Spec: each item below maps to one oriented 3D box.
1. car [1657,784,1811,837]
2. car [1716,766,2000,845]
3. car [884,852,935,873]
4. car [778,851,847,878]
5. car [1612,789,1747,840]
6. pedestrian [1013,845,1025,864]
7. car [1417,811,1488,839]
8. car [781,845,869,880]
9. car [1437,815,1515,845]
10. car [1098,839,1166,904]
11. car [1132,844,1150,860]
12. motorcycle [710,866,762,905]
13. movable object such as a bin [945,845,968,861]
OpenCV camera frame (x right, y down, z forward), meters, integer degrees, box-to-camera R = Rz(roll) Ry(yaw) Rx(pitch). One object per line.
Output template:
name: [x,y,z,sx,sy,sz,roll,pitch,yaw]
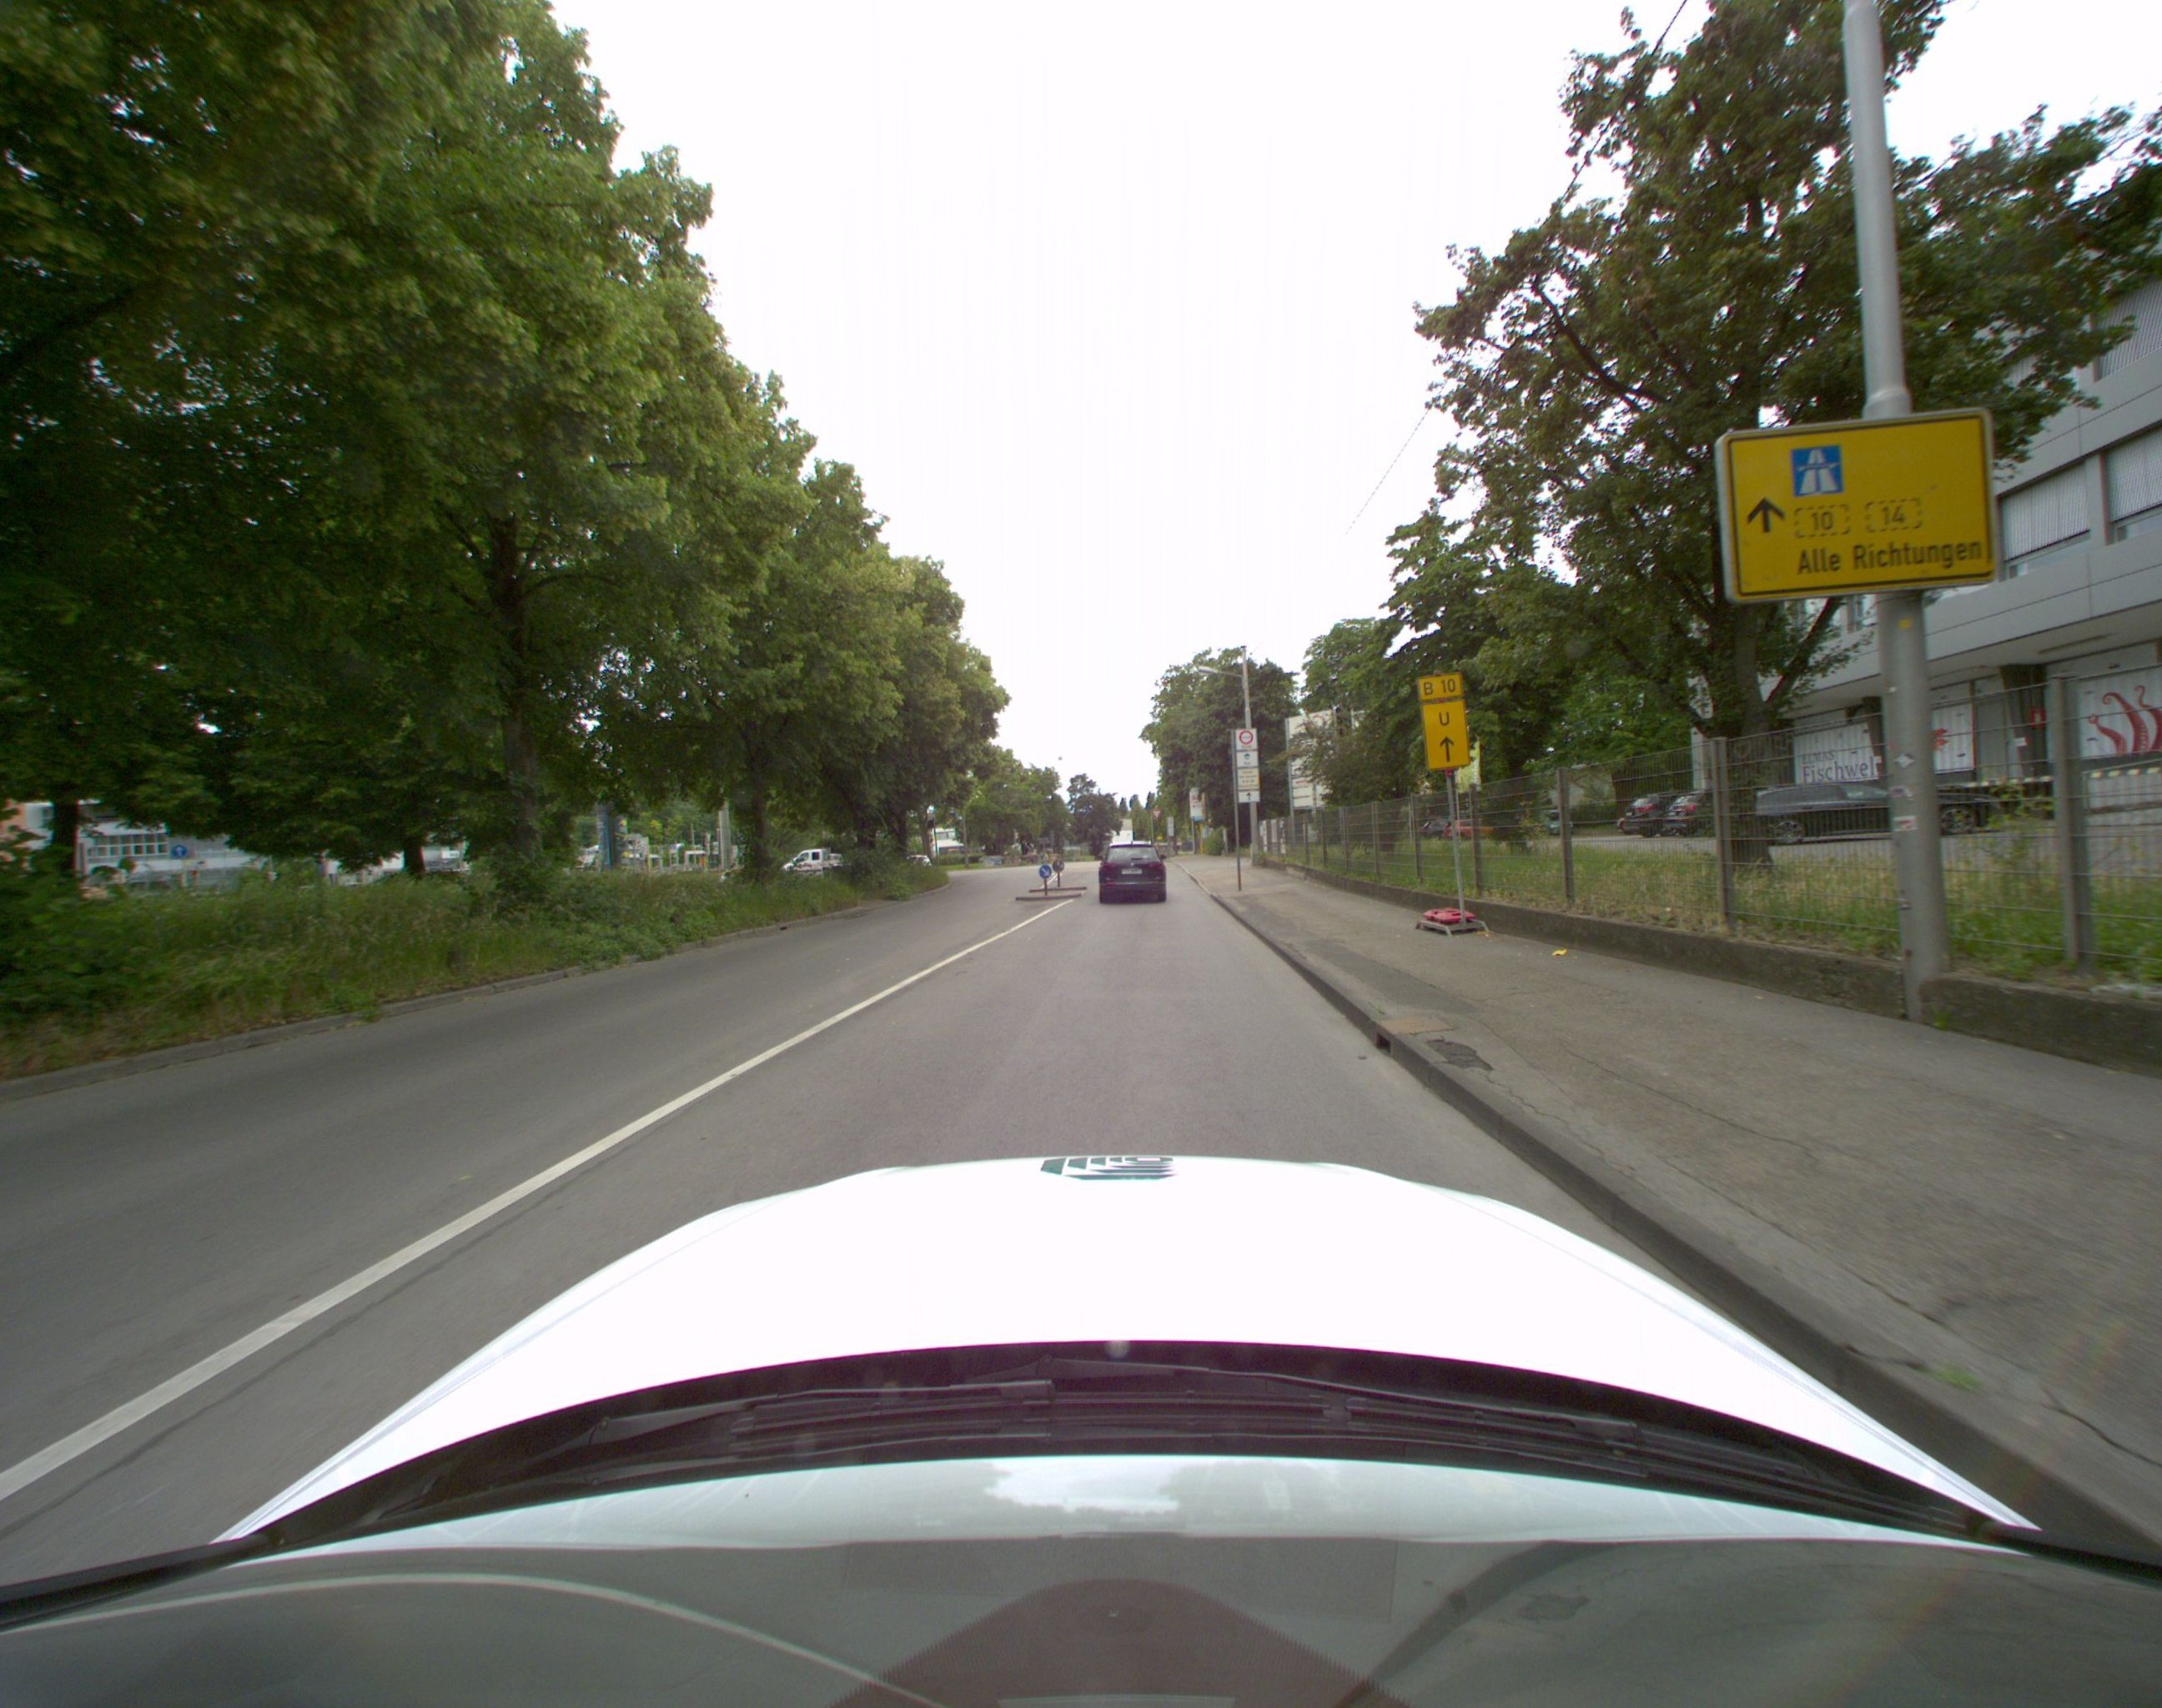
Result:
car: [22.332,-1.466,27.976,3.679,1.534,1.835,-3,1,9]
car: [19.183,-1.159,20.484,4.798,1.534,2.036,-3,1,31]
car: [-13.565,0.683,64.561,3.622,1.409,1.727,-4,1,-25]
car: [-22.293,0.859,67.651,4.950,1.942,2.053,-3,1,8]
car: [22.831,-1.485,31.178,3.679,1.673,1.863,-3,1,9]
pedestrian: [-5.802,0.074,76.166,0.734,1.741,0.732,-3,1,44]
car: [25.147,-1.957,55.239,3.923,1.646,1.835,-3,1,9]
car: [-20.066,0.638,64.050,6.057,2.387,2.392,-4,1,-3]
car: [24.479,-1.484,50.566,3.923,1.534,1.835,-3,1,9]
car: [1.417,0.420,22.857,1.732,1.618,3.644,-1,1,3]
car: [6.160,-0.223,83.376,1.651,1.574,3.834,-4,0,5]
motorcycle: [-11.513,1.026,27.234,0.562,1.168,2.040,-4,1,7]
movable object such as a bin: [-17.026,-0.195,111.060,1.975,2.013,2.413,-3,1,25]
